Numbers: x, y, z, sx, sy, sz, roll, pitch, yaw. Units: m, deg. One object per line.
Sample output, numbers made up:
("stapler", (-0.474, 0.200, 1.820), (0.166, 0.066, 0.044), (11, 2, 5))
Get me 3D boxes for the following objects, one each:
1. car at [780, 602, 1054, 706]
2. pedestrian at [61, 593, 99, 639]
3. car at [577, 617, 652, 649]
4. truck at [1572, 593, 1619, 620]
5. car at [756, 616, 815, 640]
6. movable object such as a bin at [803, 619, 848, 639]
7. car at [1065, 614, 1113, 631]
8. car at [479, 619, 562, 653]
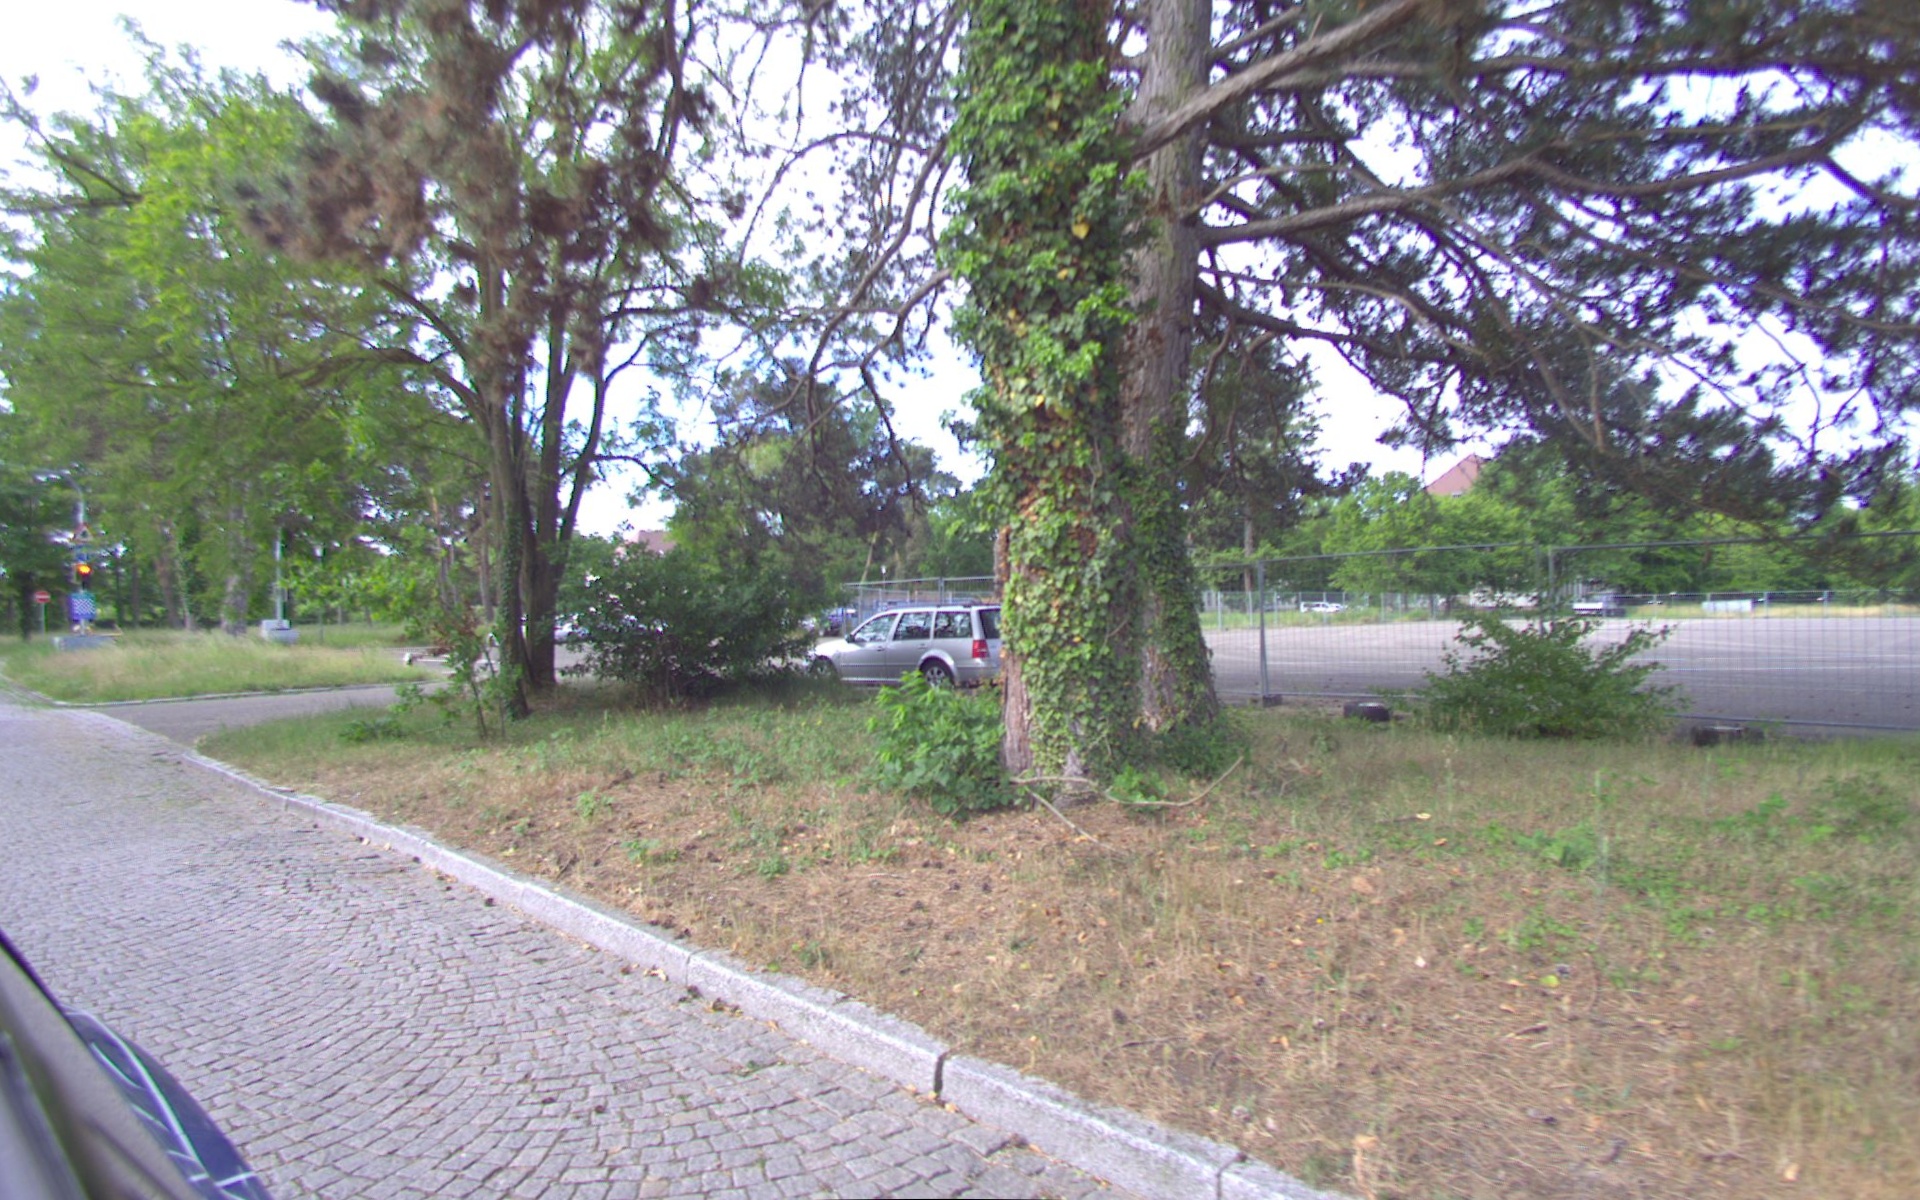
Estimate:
("car", (-0.805, 0.817, 16.366), (4.464, 1.449, 1.698), (-2, -1, 40))
("pedestrian", (-29.836, 0.553, 34.317), (0.869, 1.529, 0.824), (-1, -1, -33))
("car", (-18.298, 1.746, 53.502), (4.584, 1.480, 1.815), (-4, -3, 43))
("truck", (54.815, 0.571, 87.272), (2.374, 2.215, 6.464), (-2, -1, 42))
("car", (-13.075, 2.126, 75.856), (4.581, 1.586, 1.816), (-4, -3, 40))
("movable object such as a bin", (-6.339, 1.373, 47.618), (1.932, 0.940, 1.029), (-2, -2, 36))
("car", (13.225, 2.292, 104.179), (4.581, 1.533, 1.816), (-4, -3, 40))
("car", (-21.477, 1.752, 49.372), (4.651, 1.461, 1.816), (-4, -3, 40))
